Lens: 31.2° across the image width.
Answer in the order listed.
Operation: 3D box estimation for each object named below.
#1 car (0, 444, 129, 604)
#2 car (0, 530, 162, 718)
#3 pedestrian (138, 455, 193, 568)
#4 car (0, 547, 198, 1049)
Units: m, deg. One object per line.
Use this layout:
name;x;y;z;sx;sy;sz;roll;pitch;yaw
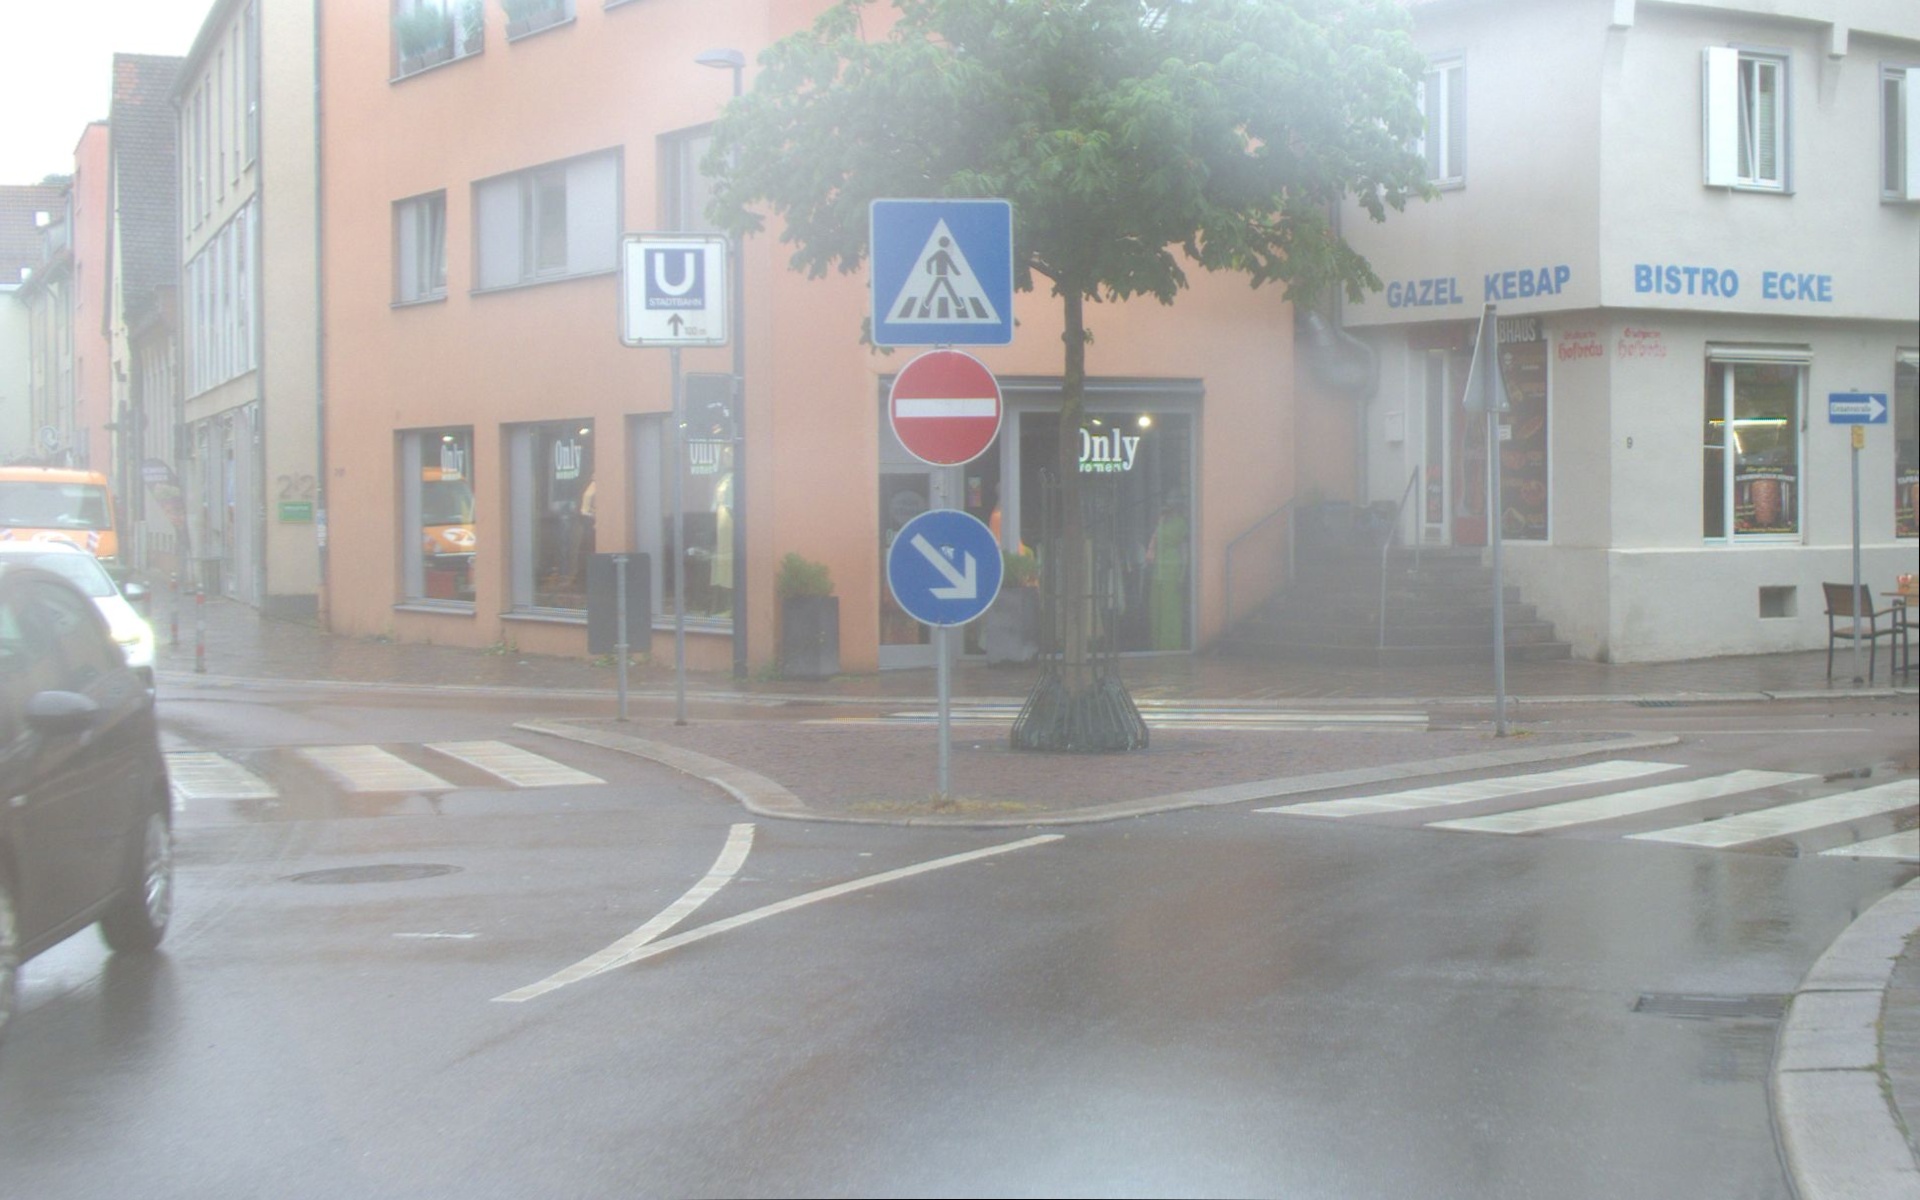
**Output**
car;-13.255;-1.072;49.613;2.103;2.139;4.869;-3;1;-17
car;-7.870;0.151;28.813;1.993;1.436;4.165;-1;2;-17
pedestrian;-14.248;-1.585;61.659;0.866;2.007;0.708;-1;1;-20
car;-3.677;0.592;11.021;1.648;1.441;3.984;-2;1;-2
